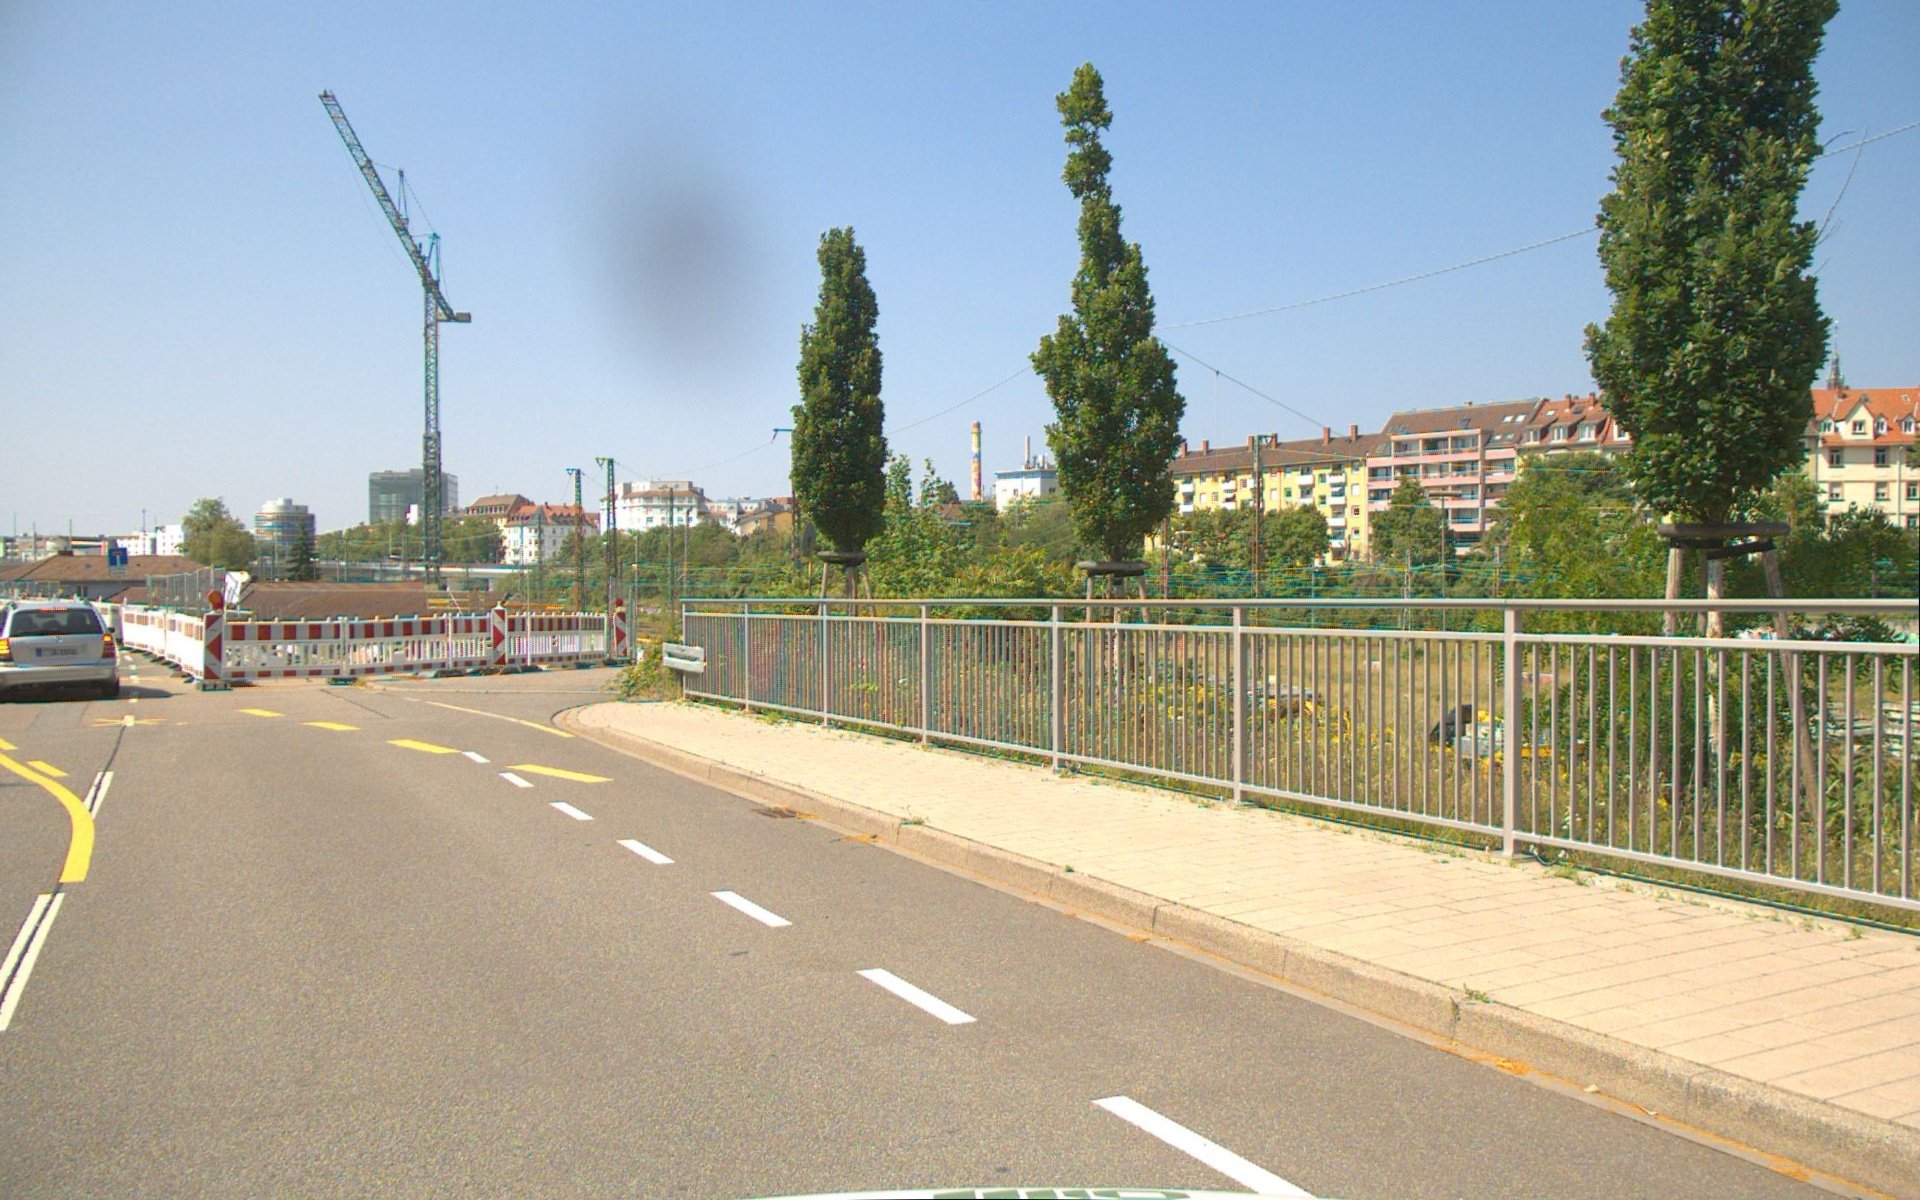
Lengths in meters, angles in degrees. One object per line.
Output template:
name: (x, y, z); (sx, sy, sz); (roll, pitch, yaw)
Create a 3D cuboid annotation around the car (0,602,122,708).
car: (-13.936, 0.762, 24.973); (1.695, 1.428, 4.332); (0, 0, -35)
